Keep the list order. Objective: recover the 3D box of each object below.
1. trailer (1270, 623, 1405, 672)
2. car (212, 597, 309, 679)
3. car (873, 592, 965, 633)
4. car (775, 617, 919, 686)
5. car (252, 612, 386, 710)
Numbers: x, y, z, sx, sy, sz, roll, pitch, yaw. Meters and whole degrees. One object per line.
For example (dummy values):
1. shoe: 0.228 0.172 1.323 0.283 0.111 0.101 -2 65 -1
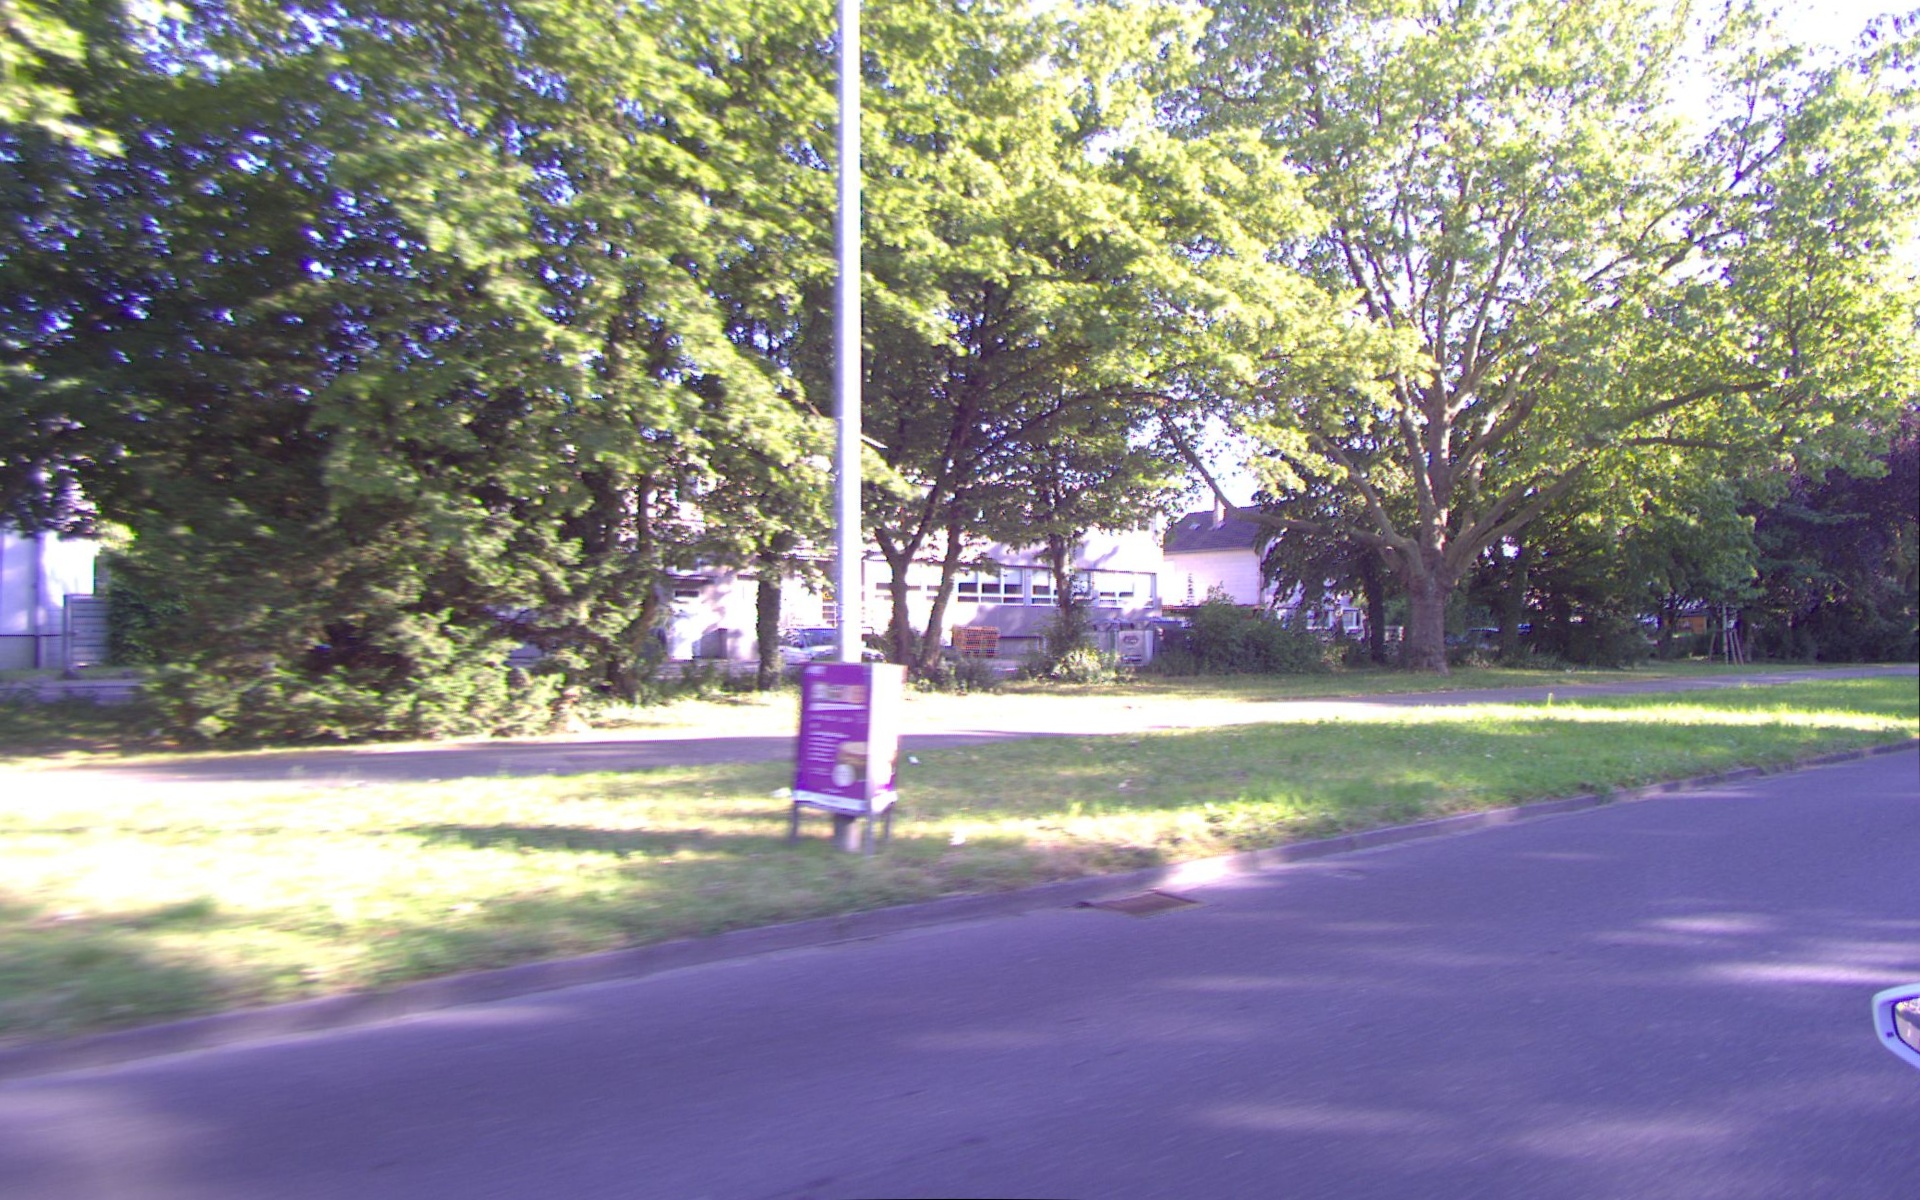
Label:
1. trailer: 12.894 1.599 34.497 1.980 1.576 3.961 1 -2 -35
2. car: -19.182 1.032 27.590 1.980 2.040 4.515 2 -2 -35
3. car: -1.771 0.556 42.268 1.913 1.622 3.956 2 -2 -38
4. car: -2.745 1.172 23.798 1.750 1.483 3.703 2 -2 -37
5. car: -11.882 1.038 18.677 1.892 1.528 3.963 1 0 -33
